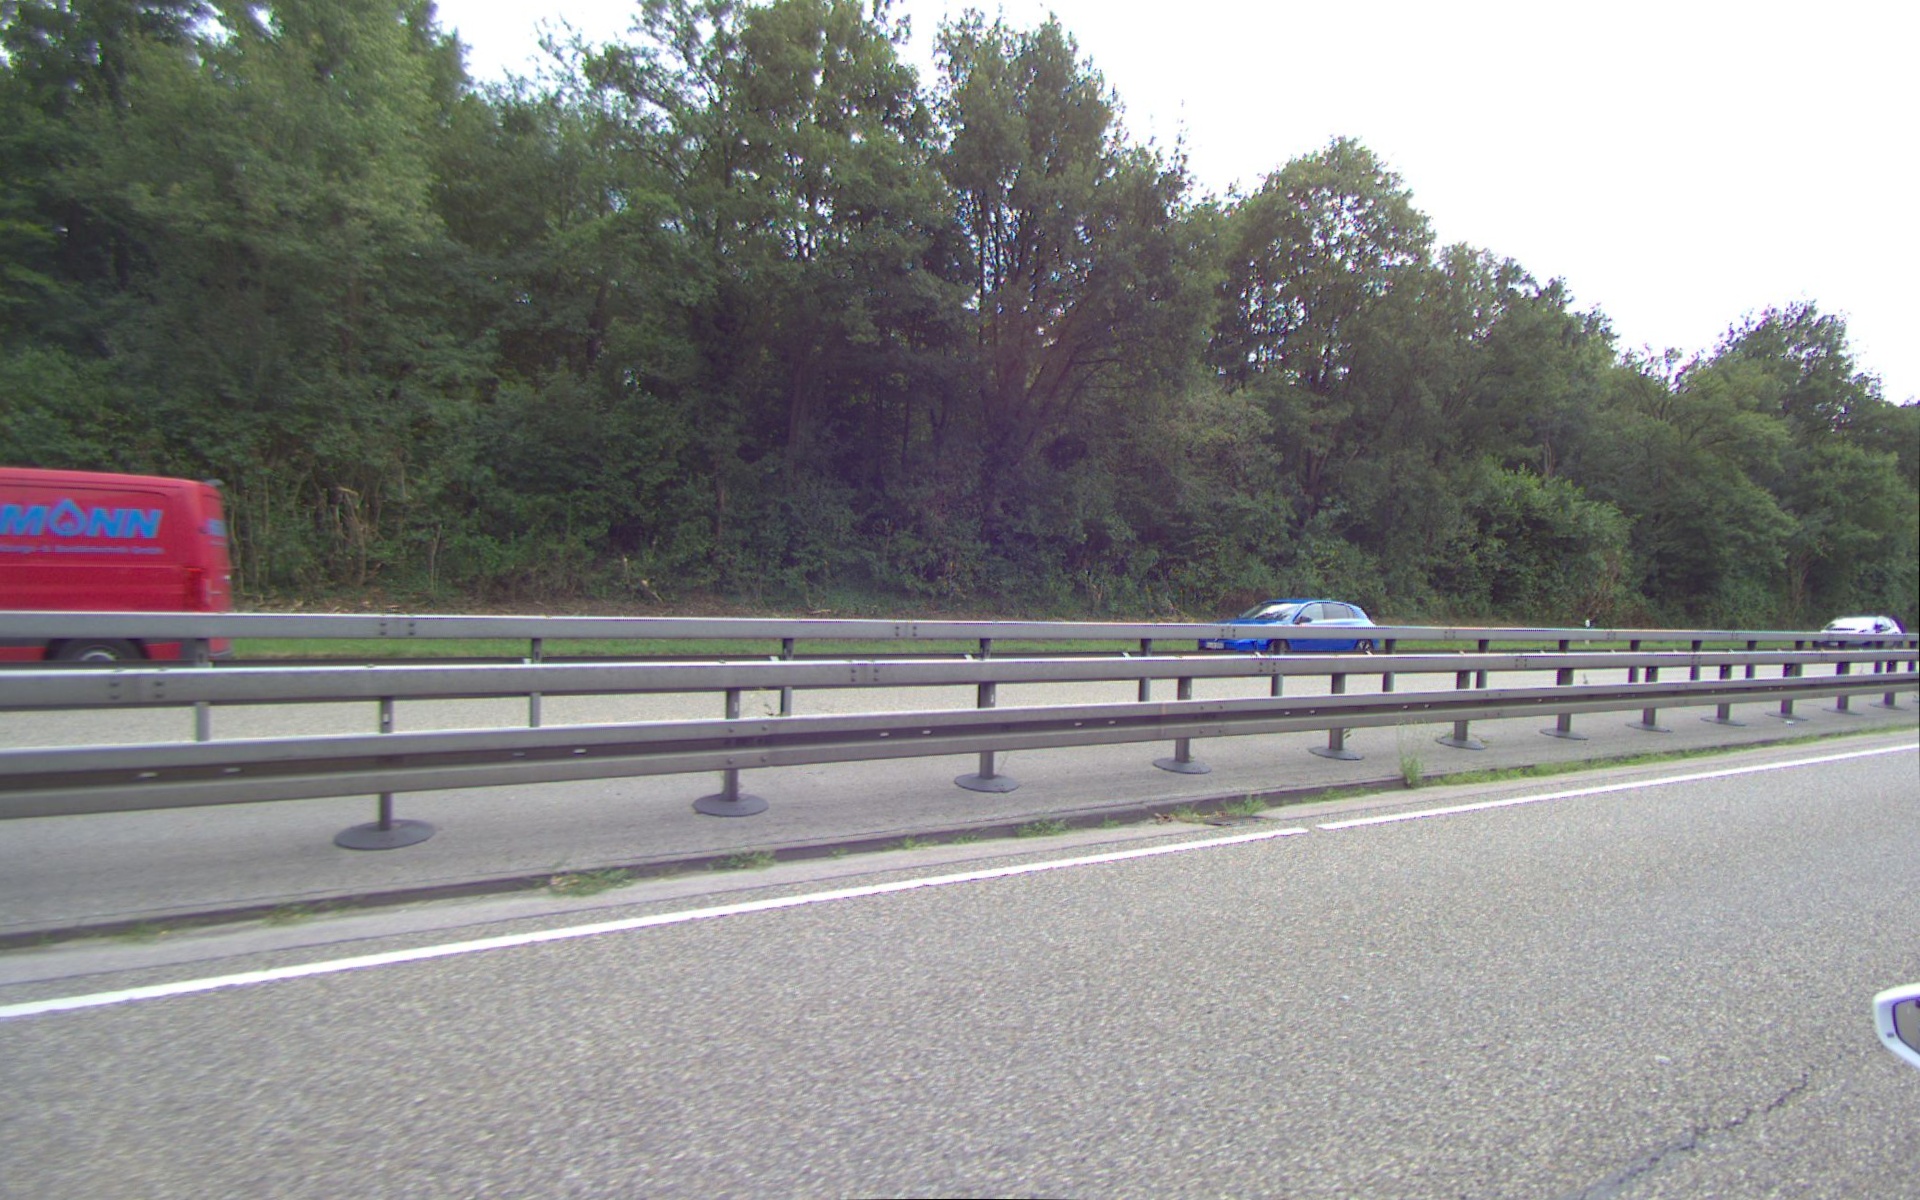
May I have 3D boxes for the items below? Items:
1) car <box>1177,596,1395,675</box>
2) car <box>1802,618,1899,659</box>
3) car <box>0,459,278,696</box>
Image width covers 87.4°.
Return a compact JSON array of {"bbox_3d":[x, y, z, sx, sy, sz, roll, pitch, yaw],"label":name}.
[{"bbox_3d":[6.981,0.746,21.413,4.453,1.529,1.984,2,-1,-31],"label":"car"},{"bbox_3d":[34.450,1.473,38.838,4.043,1.486,1.685,2,-1,-31],"label":"car"},{"bbox_3d":[-10.302,-0.230,10.279,5.313,2.286,2.056,2,-1,-31],"label":"car"}]
